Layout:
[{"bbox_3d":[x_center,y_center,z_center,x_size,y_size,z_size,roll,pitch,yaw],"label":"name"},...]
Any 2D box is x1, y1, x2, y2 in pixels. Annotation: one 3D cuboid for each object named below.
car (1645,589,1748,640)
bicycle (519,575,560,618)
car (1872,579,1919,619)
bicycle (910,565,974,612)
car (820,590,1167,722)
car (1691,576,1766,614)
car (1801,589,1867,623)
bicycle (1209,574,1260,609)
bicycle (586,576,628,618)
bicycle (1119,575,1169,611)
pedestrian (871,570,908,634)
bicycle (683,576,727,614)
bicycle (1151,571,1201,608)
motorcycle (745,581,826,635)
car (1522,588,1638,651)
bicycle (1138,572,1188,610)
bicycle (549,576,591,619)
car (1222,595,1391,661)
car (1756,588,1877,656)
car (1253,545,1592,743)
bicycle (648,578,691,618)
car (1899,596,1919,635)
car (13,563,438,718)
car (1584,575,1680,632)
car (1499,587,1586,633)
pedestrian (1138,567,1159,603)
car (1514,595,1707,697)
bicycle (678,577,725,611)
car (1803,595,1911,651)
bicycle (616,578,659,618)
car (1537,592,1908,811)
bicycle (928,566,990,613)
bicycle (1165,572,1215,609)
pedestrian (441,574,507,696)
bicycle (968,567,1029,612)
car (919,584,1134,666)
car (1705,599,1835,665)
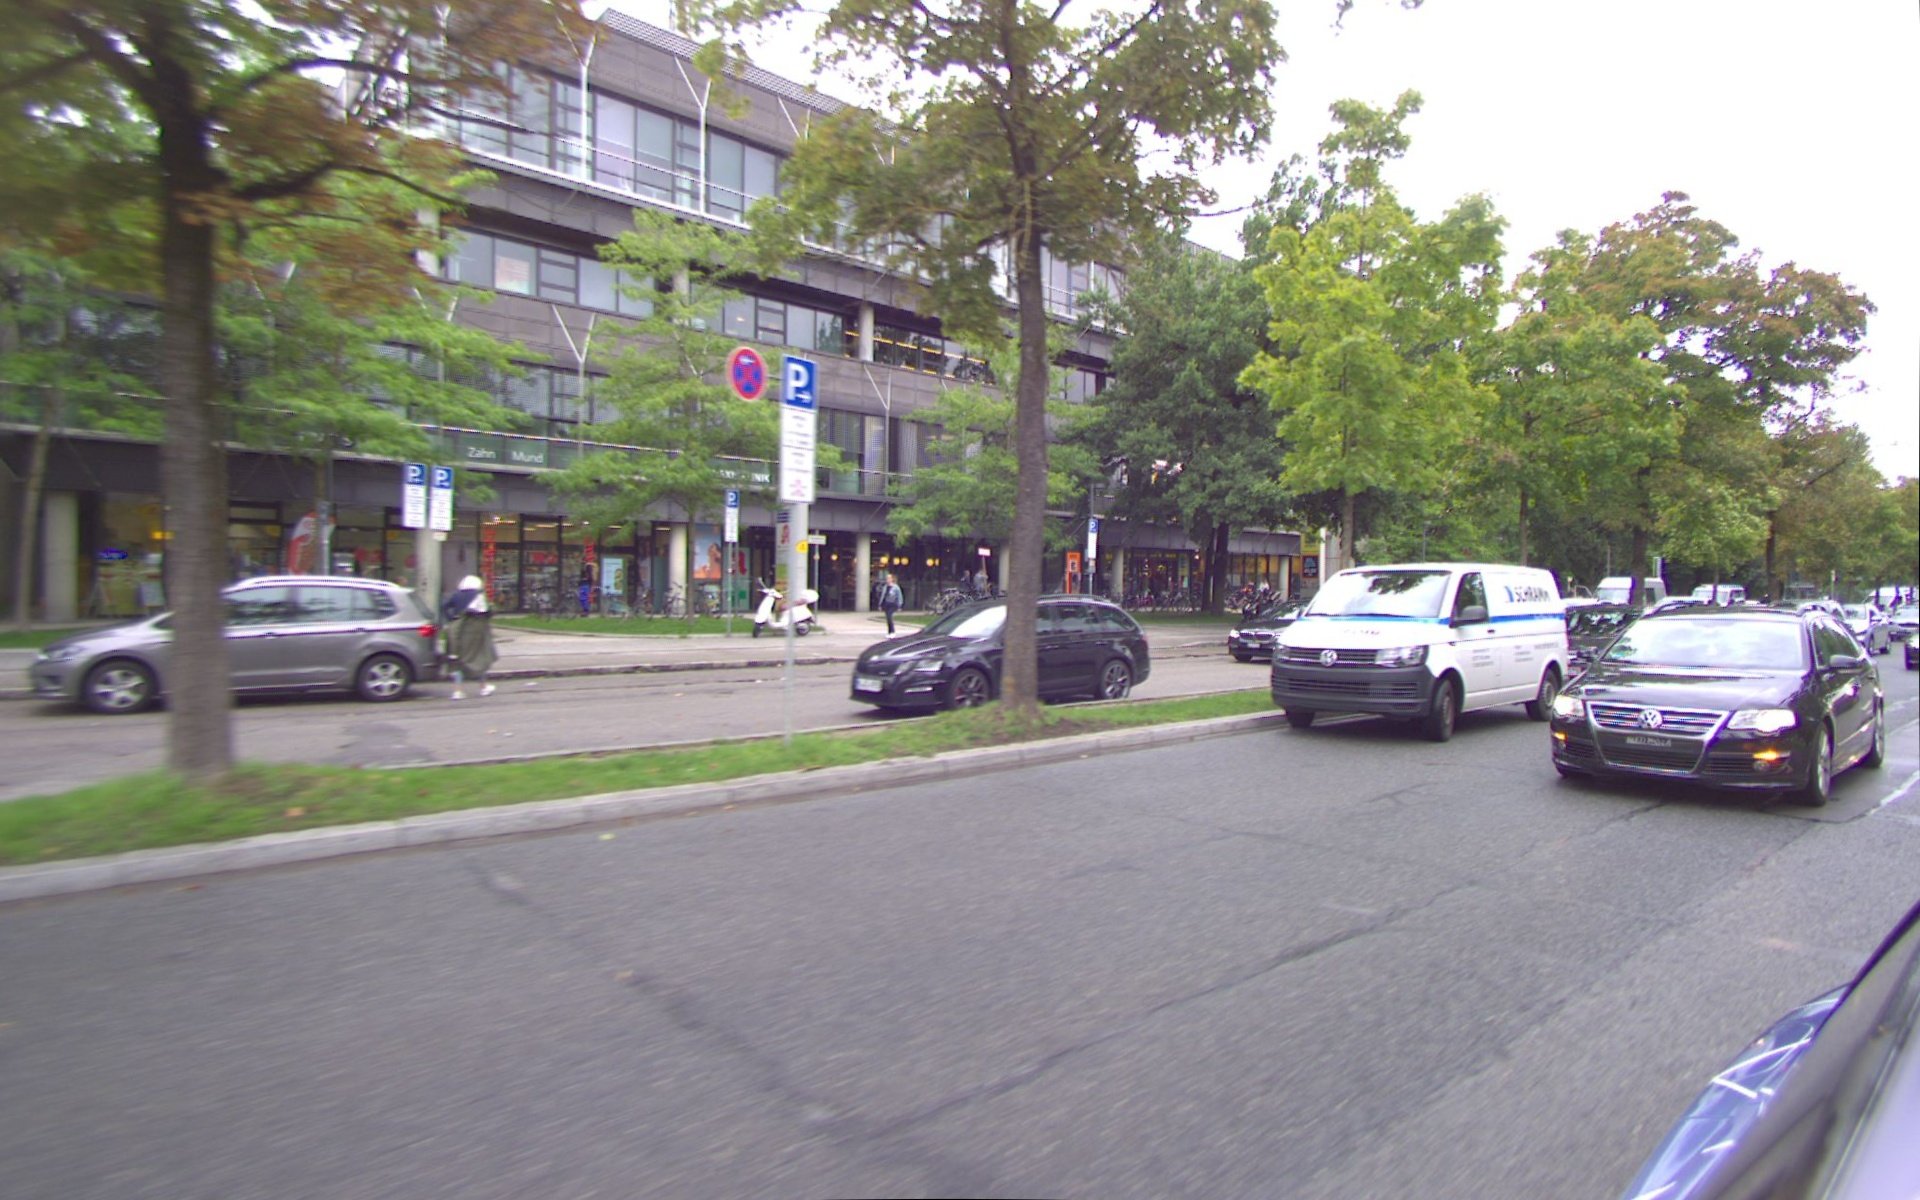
[{"bbox_3d":[24.930,0.462,34.205,4.791,1.611,1.824,0,0,-42],"label":"car"},{"bbox_3d":[-11.513,-0.104,27.677,0.447,1.134,2.079,0,1,-39],"label":"bicycle"},{"bbox_3d":[65.322,-0.066,68.453,5.884,2.691,1.982,0,0,-7],"label":"car"},{"bbox_3d":[-0.652,-0.418,36.042,2.299,1.643,0.641,1,1,34],"label":"bicycle"},{"bbox_3d":[0.585,0.605,13.268,4.609,1.450,1.731,0,0,-41],"label":"car"},{"bbox_3d":[45.148,-0.282,59.405,5.754,2.130,2.267,0,1,-40],"label":"car"},{"bbox_3d":[41.795,0.262,48.365,3.983,1.562,1.825,0,0,-40],"label":"car"},{"bbox_3d":[13.334,-0.432,49.122,2.299,1.643,0.641,1,1,34],"label":"bicycle"},{"bbox_3d":[-10.029,-0.105,28.717,0.447,1.134,2.079,0,1,-39],"label":"bicycle"},{"bbox_3d":[8.084,-0.329,44.587,0.638,1.551,2.312,0,1,-39],"label":"bicycle"},{"bbox_3d":[-1.774,0.049,25.567,0.657,1.561,0.623,4,3,39],"label":"pedestrian"},{"bbox_3d":[-7.825,-0.174,31.023,0.447,1.134,2.079,0,1,-39],"label":"bicycle"},{"bbox_3d":[9.775,-0.489,45.856,0.638,1.643,2.312,0,1,-39],"label":"bicycle"},{"bbox_3d":[-4.183,0.176,24.307,1.914,1.245,0.473,-1,4,-41],"label":"motorcycle"},{"bbox_3d":[16.298,0.477,26.540,3.812,1.538,1.652,0,0,-43],"label":"car"},{"bbox_3d":[9.084,-0.432,45.301,0.638,1.643,2.312,0,1,-39],"label":"bicycle"},{"bbox_3d":[-10.778,-0.077,27.945,0.447,1.134,2.079,0,1,-39],"label":"bicycle"},{"bbox_3d":[8.160,0.596,23.661,4.273,1.397,1.726,0,0,-39],"label":"car"},{"bbox_3d":[22.537,0.553,26.577,4.386,1.662,1.685,0,-2,-40],"label":"car"},{"bbox_3d":[5.761,0.434,12.301,4.846,1.952,1.884,0,0,-40],"label":"car"},{"bbox_3d":[-8.689,-0.077,30.209,0.447,1.134,2.079,0,1,-39],"label":"bicycle"},{"bbox_3d":[39.577,0.592,41.055,4.365,1.526,1.733,0,0,-41],"label":"car"},{"bbox_3d":[-9.088,0.404,12.852,4.121,1.654,1.827,0,2,-38],"label":"car"},{"bbox_3d":[32.238,0.127,48.465,5.754,2.560,2.267,0,1,-40],"label":"car"},{"bbox_3d":[23.234,0.359,40.307,4.269,1.654,1.862,0,2,-44],"label":"car"},{"bbox_3d":[9.723,-0.757,52.193,0.714,1.827,0.669,1,3,-26],"label":"pedestrian"},{"bbox_3d":[10.730,0.667,16.591,3.973,1.467,1.698,0,0,-42],"label":"car"},{"bbox_3d":[-8.877,-0.212,34.788,1.529,1.134,0.454,0,1,-44],"label":"bicycle"},{"bbox_3d":[26.610,0.663,29.988,4.385,1.542,1.685,0,-2,-39],"label":"car"},{"bbox_3d":[-9.355,-0.075,29.343,0.447,1.134,2.079,0,1,-39],"label":"bicycle"},{"bbox_3d":[6.773,0.669,8.799,4.365,1.451,1.733,0,0,-41],"label":"car"},{"bbox_3d":[-0.042,-0.394,36.732,2.299,1.643,0.641,1,1,34],"label":"bicycle"},{"bbox_3d":[10.503,-0.466,46.370,0.638,1.643,2.312,0,1,-39],"label":"bicycle"},{"bbox_3d":[-6.624,0.459,13.822,0.738,1.614,0.660,1,1,-21],"label":"pedestrian"},{"bbox_3d":[1.441,-0.411,38.105,2.299,1.643,0.641,1,1,34],"label":"bicycle"},{"bbox_3d":[1.483,0.466,21.612,4.518,1.550,1.827,0,2,-38],"label":"car"},{"bbox_3d":[18.664,0.676,23.262,4.010,1.392,1.684,0,0,-42],"label":"car"}]
